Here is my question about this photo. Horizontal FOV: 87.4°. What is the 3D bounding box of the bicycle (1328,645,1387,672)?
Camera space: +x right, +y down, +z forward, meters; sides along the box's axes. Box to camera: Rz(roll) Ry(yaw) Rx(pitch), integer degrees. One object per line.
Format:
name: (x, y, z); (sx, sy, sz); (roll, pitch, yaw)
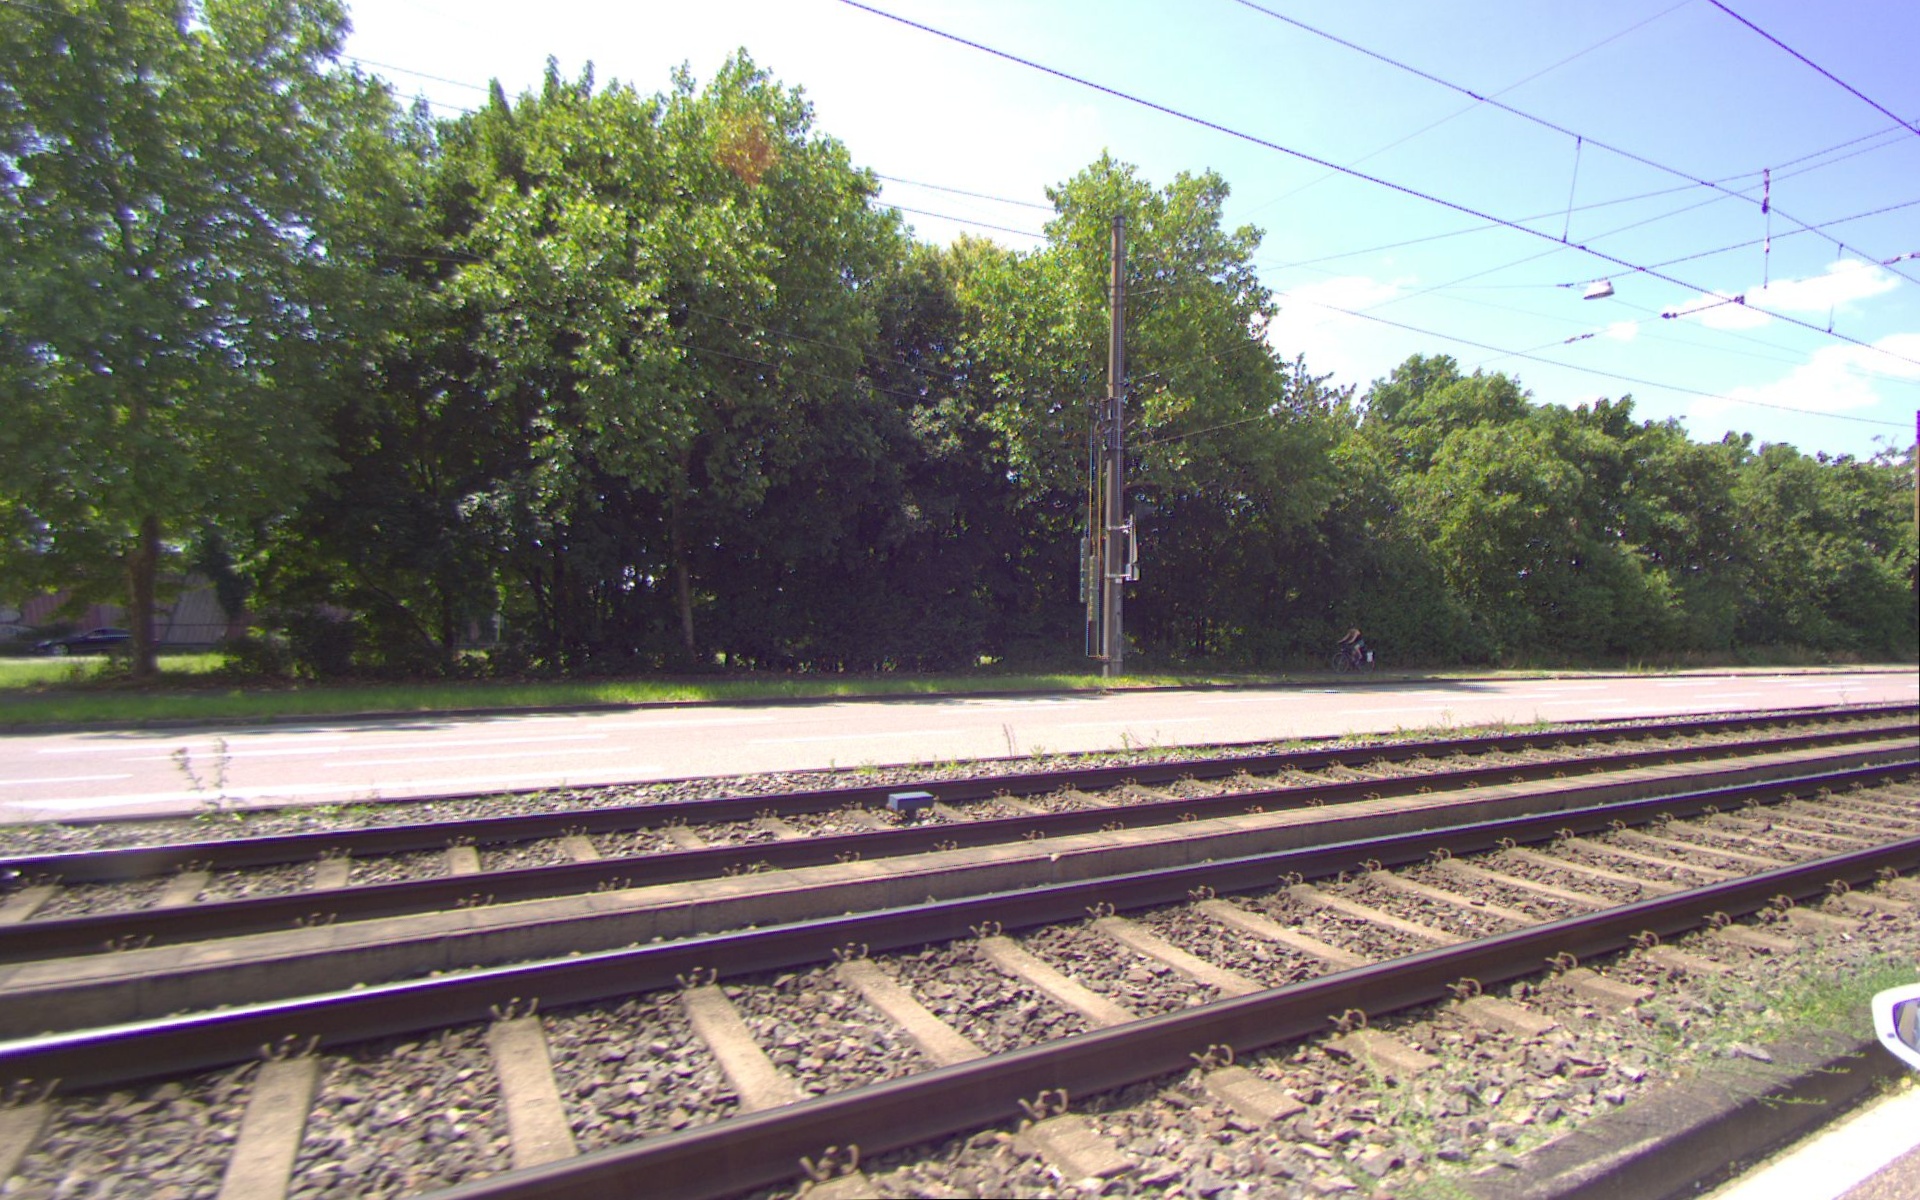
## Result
bicycle: (12.674, 1.870, 32.015); (2.042, 0.829, 0.584); (2, -2, -27)

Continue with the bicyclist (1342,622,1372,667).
bicyclist: (12.631, 1.405, 31.990); (0.623, 1.386, 0.566); (2, 0, -27)

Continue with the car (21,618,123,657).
car: (-42.658, 1.787, 48.309); (1.539, 1.816, 3.388); (0, -1, 35)
